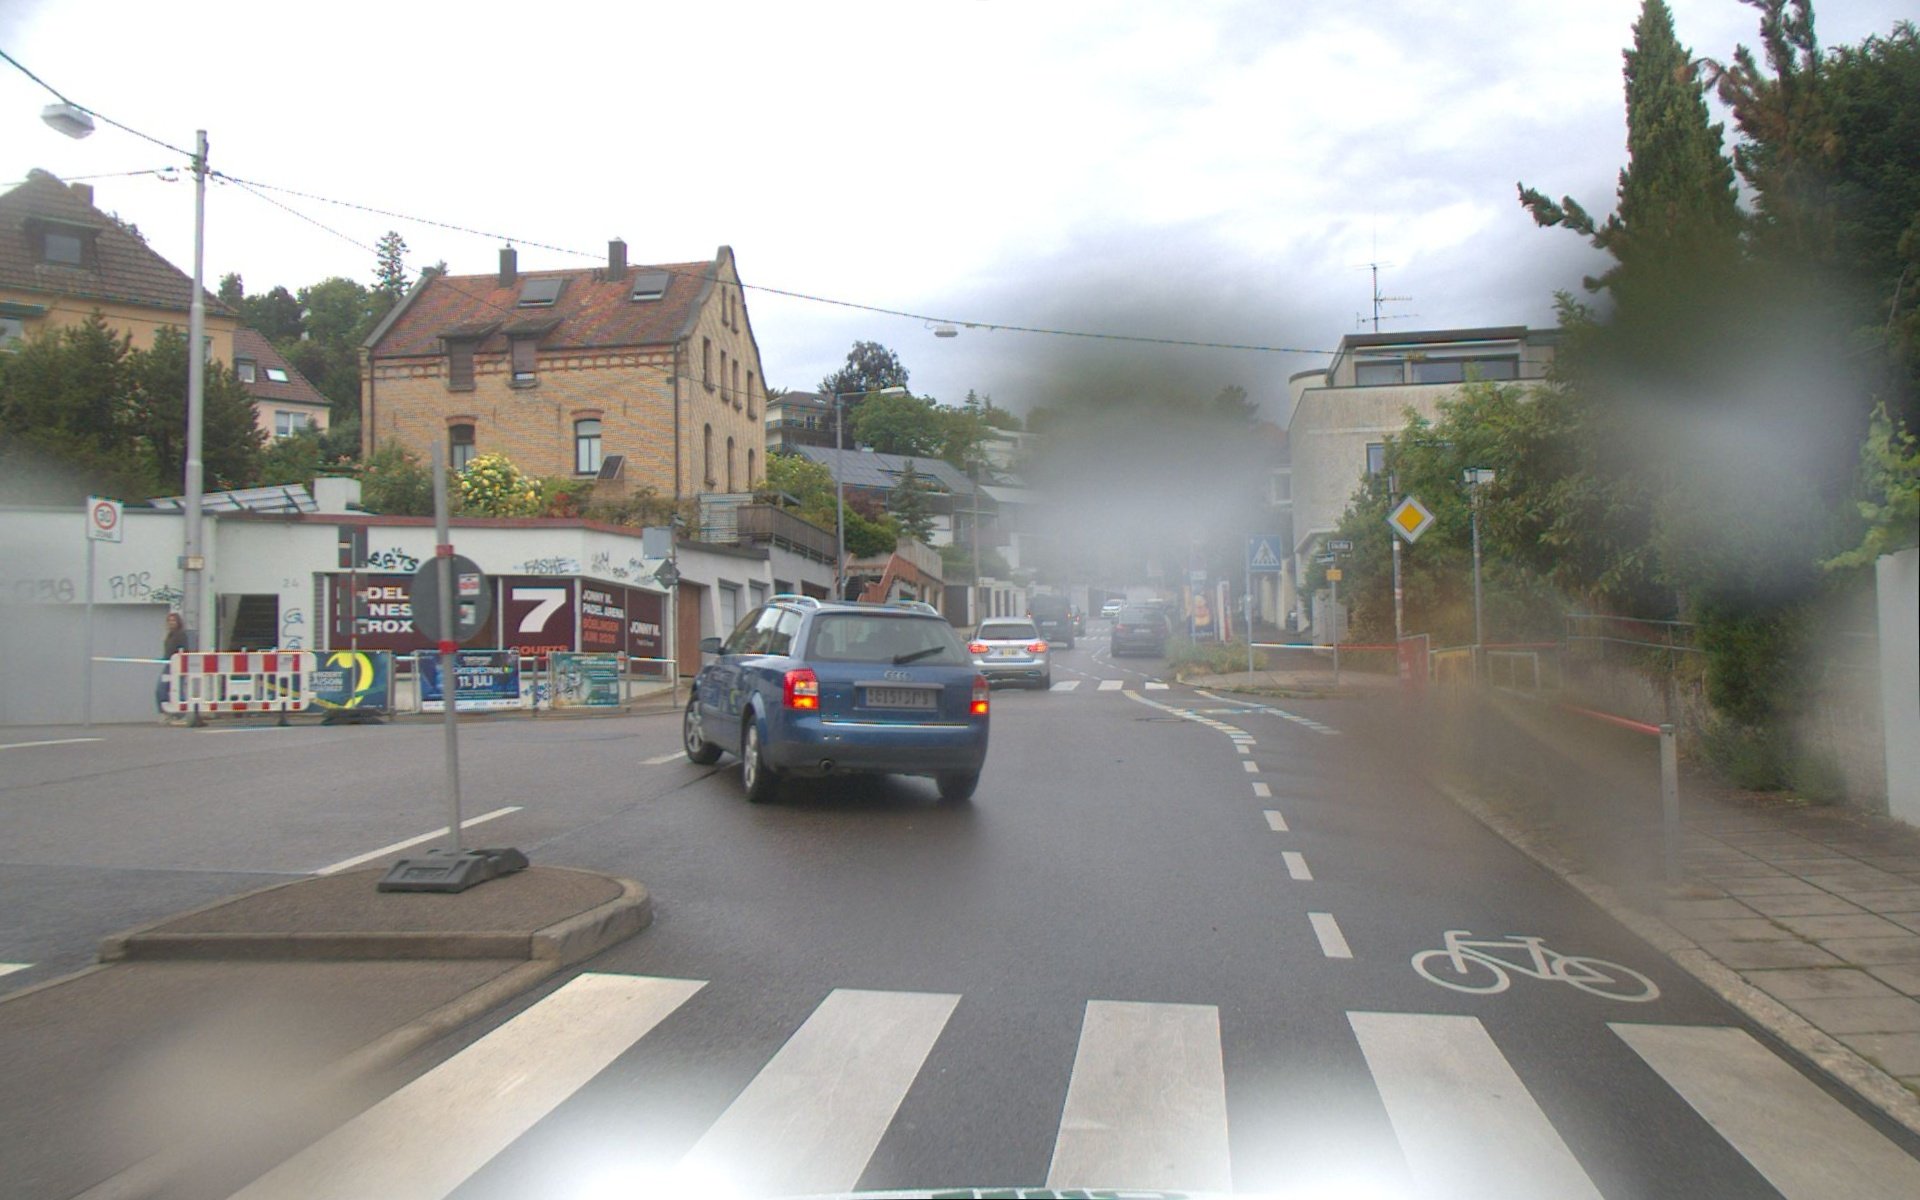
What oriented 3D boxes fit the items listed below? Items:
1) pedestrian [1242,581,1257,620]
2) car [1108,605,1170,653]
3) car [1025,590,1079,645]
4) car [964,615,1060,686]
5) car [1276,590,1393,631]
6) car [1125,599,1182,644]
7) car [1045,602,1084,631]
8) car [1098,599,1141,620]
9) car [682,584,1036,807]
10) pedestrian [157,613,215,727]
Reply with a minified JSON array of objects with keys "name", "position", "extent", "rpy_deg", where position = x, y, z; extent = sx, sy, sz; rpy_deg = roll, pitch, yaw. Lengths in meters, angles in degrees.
[{"name":"pedestrian","position":[13.434,0.019,76.774],"extent":[0.625,1.826,0.745],"rpy_deg":[-1,0,4]},{"name":"car","position":[5.605,0.881,52.039],"extent":[1.734,1.401,4.350],"rpy_deg":[-1,0,4]},{"name":"car","position":[3.272,0.610,58.368],"extent":[1.786,1.851,4.002],"rpy_deg":[-1,0,4]},{"name":"car","position":[1.050,1.076,35.420],"extent":[1.775,1.384,3.998],"rpy_deg":[1,-2,-2]},{"name":"car","position":[13.614,0.400,60.091],"extent":[3.905,1.440,1.725],"rpy_deg":[-1,-1,22]},{"name":"car","position":[6.679,0.729,57.337],"extent":[1.680,1.476,3.834],"rpy_deg":[-1,0,3]},{"name":"car","position":[4.947,0.775,78.102],"extent":[1.785,1.319,4.002],"rpy_deg":[-1,0,4]},{"name":"car","position":[12.588,0.775,130.275],"extent":[1.701,1.635,3.531],"rpy_deg":[0,-1,39]},{"name":"car","position":[-0.976,0.664,13.128],"extent":[1.783,1.464,4.060],"rpy_deg":[3,-1,-18]},{"name":"pedestrian","position":[-11.935,1.080,25.504],"extent":[0.615,1.719,0.581],"rpy_deg":[-3,-2,42]}]
